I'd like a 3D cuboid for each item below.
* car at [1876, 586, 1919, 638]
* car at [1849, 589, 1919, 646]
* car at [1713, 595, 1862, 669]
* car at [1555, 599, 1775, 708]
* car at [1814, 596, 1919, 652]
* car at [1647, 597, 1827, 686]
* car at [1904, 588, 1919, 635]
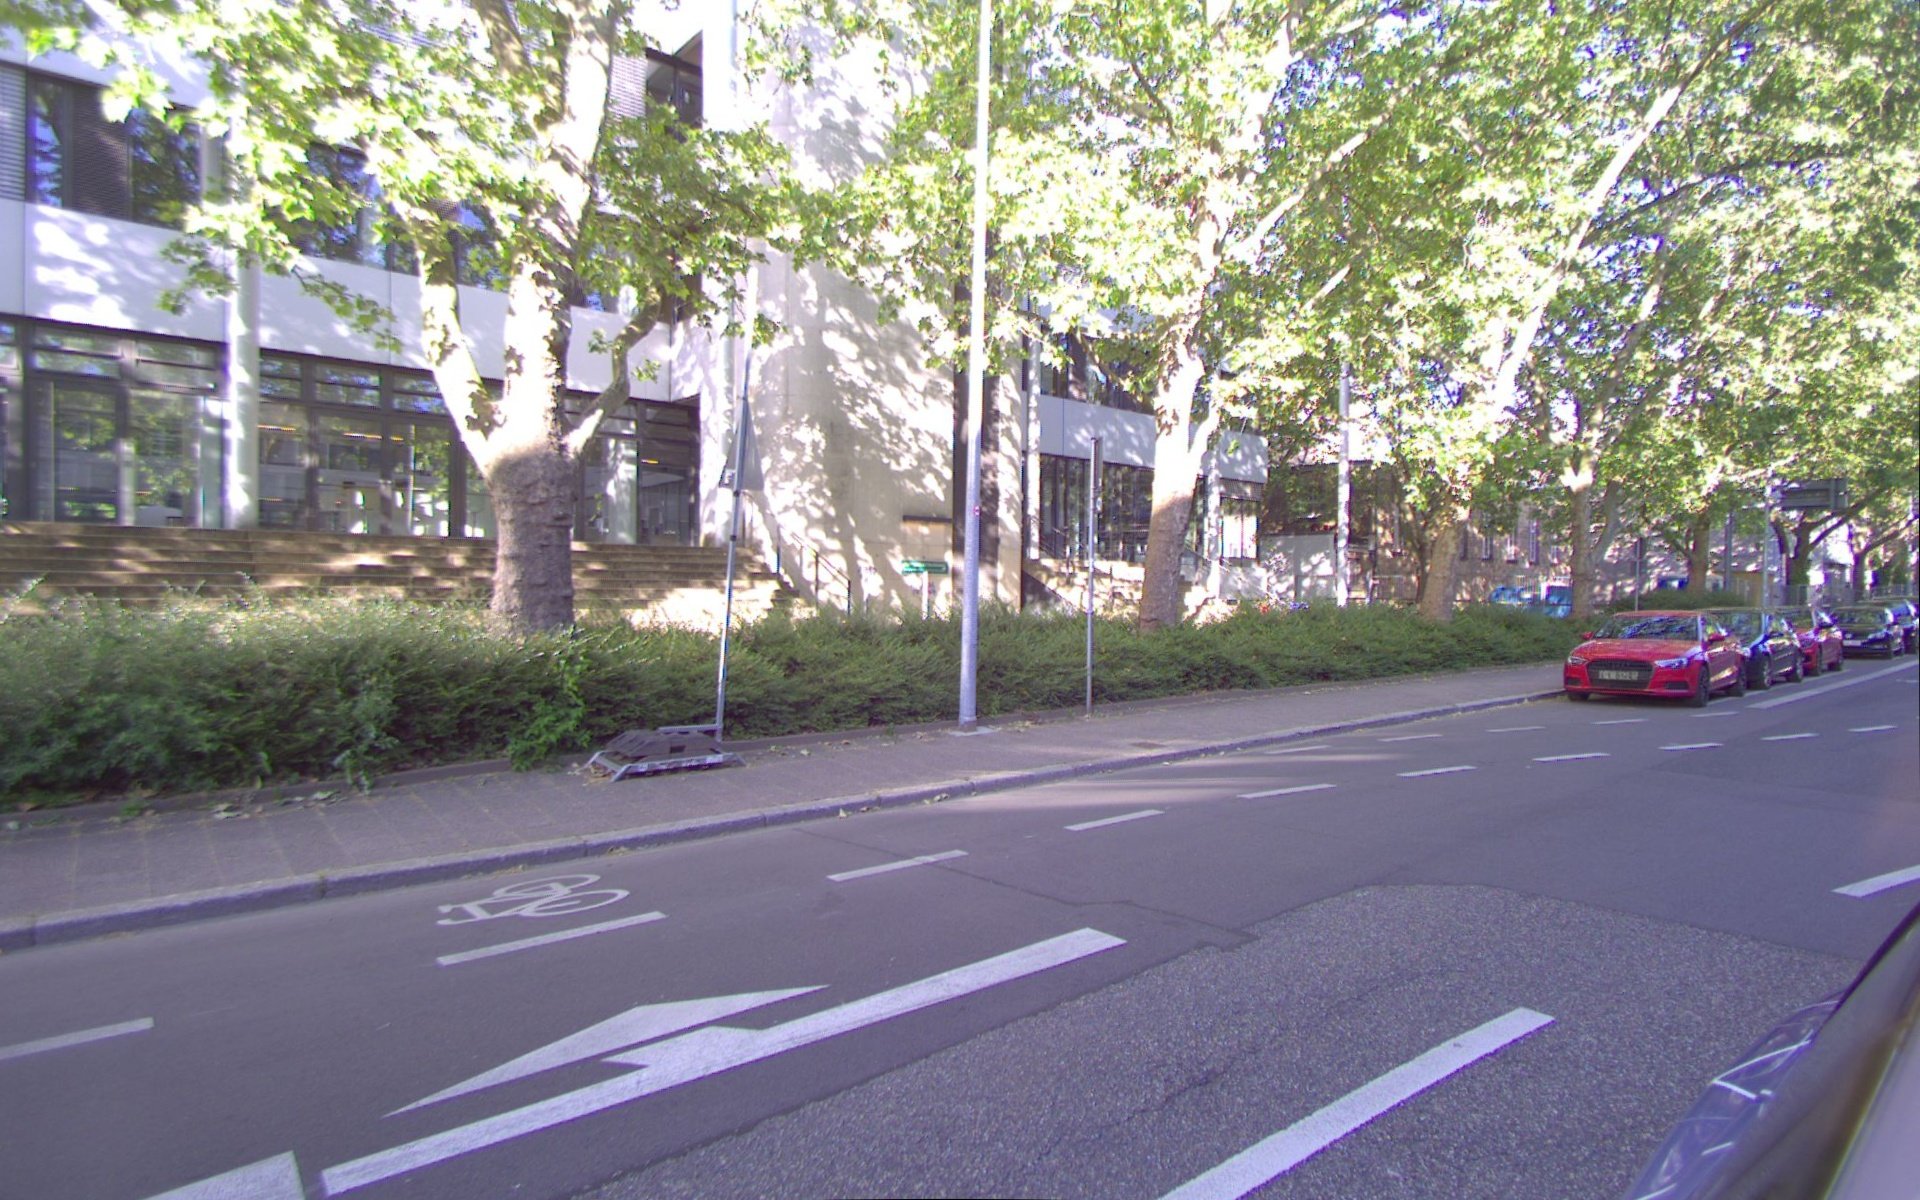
[{"bbox_3d":[33.913,0.393,35.703,4.403,1.781,1.865,0,0,-41],"label":"car"},{"bbox_3d":[29.575,0.512,31.812,4.403,1.689,1.865,0,0,-41],"label":"car"},{"bbox_3d":[18.439,0.636,22.484,4.403,1.469,1.865,0,0,-41],"label":"car"},{"bbox_3d":[11.324,0.738,16.146,4.403,1.469,1.865,0,0,-41],"label":"car"},{"bbox_3d":[25.795,0.620,28.618,4.403,1.469,1.865,0,0,-41],"label":"car"},{"bbox_3d":[14.771,0.692,19.147,4.403,1.469,1.865,0,0,-41],"label":"car"},{"bbox_3d":[38.879,0.442,39.973,4.403,1.781,1.865,0,0,-41],"label":"car"}]
